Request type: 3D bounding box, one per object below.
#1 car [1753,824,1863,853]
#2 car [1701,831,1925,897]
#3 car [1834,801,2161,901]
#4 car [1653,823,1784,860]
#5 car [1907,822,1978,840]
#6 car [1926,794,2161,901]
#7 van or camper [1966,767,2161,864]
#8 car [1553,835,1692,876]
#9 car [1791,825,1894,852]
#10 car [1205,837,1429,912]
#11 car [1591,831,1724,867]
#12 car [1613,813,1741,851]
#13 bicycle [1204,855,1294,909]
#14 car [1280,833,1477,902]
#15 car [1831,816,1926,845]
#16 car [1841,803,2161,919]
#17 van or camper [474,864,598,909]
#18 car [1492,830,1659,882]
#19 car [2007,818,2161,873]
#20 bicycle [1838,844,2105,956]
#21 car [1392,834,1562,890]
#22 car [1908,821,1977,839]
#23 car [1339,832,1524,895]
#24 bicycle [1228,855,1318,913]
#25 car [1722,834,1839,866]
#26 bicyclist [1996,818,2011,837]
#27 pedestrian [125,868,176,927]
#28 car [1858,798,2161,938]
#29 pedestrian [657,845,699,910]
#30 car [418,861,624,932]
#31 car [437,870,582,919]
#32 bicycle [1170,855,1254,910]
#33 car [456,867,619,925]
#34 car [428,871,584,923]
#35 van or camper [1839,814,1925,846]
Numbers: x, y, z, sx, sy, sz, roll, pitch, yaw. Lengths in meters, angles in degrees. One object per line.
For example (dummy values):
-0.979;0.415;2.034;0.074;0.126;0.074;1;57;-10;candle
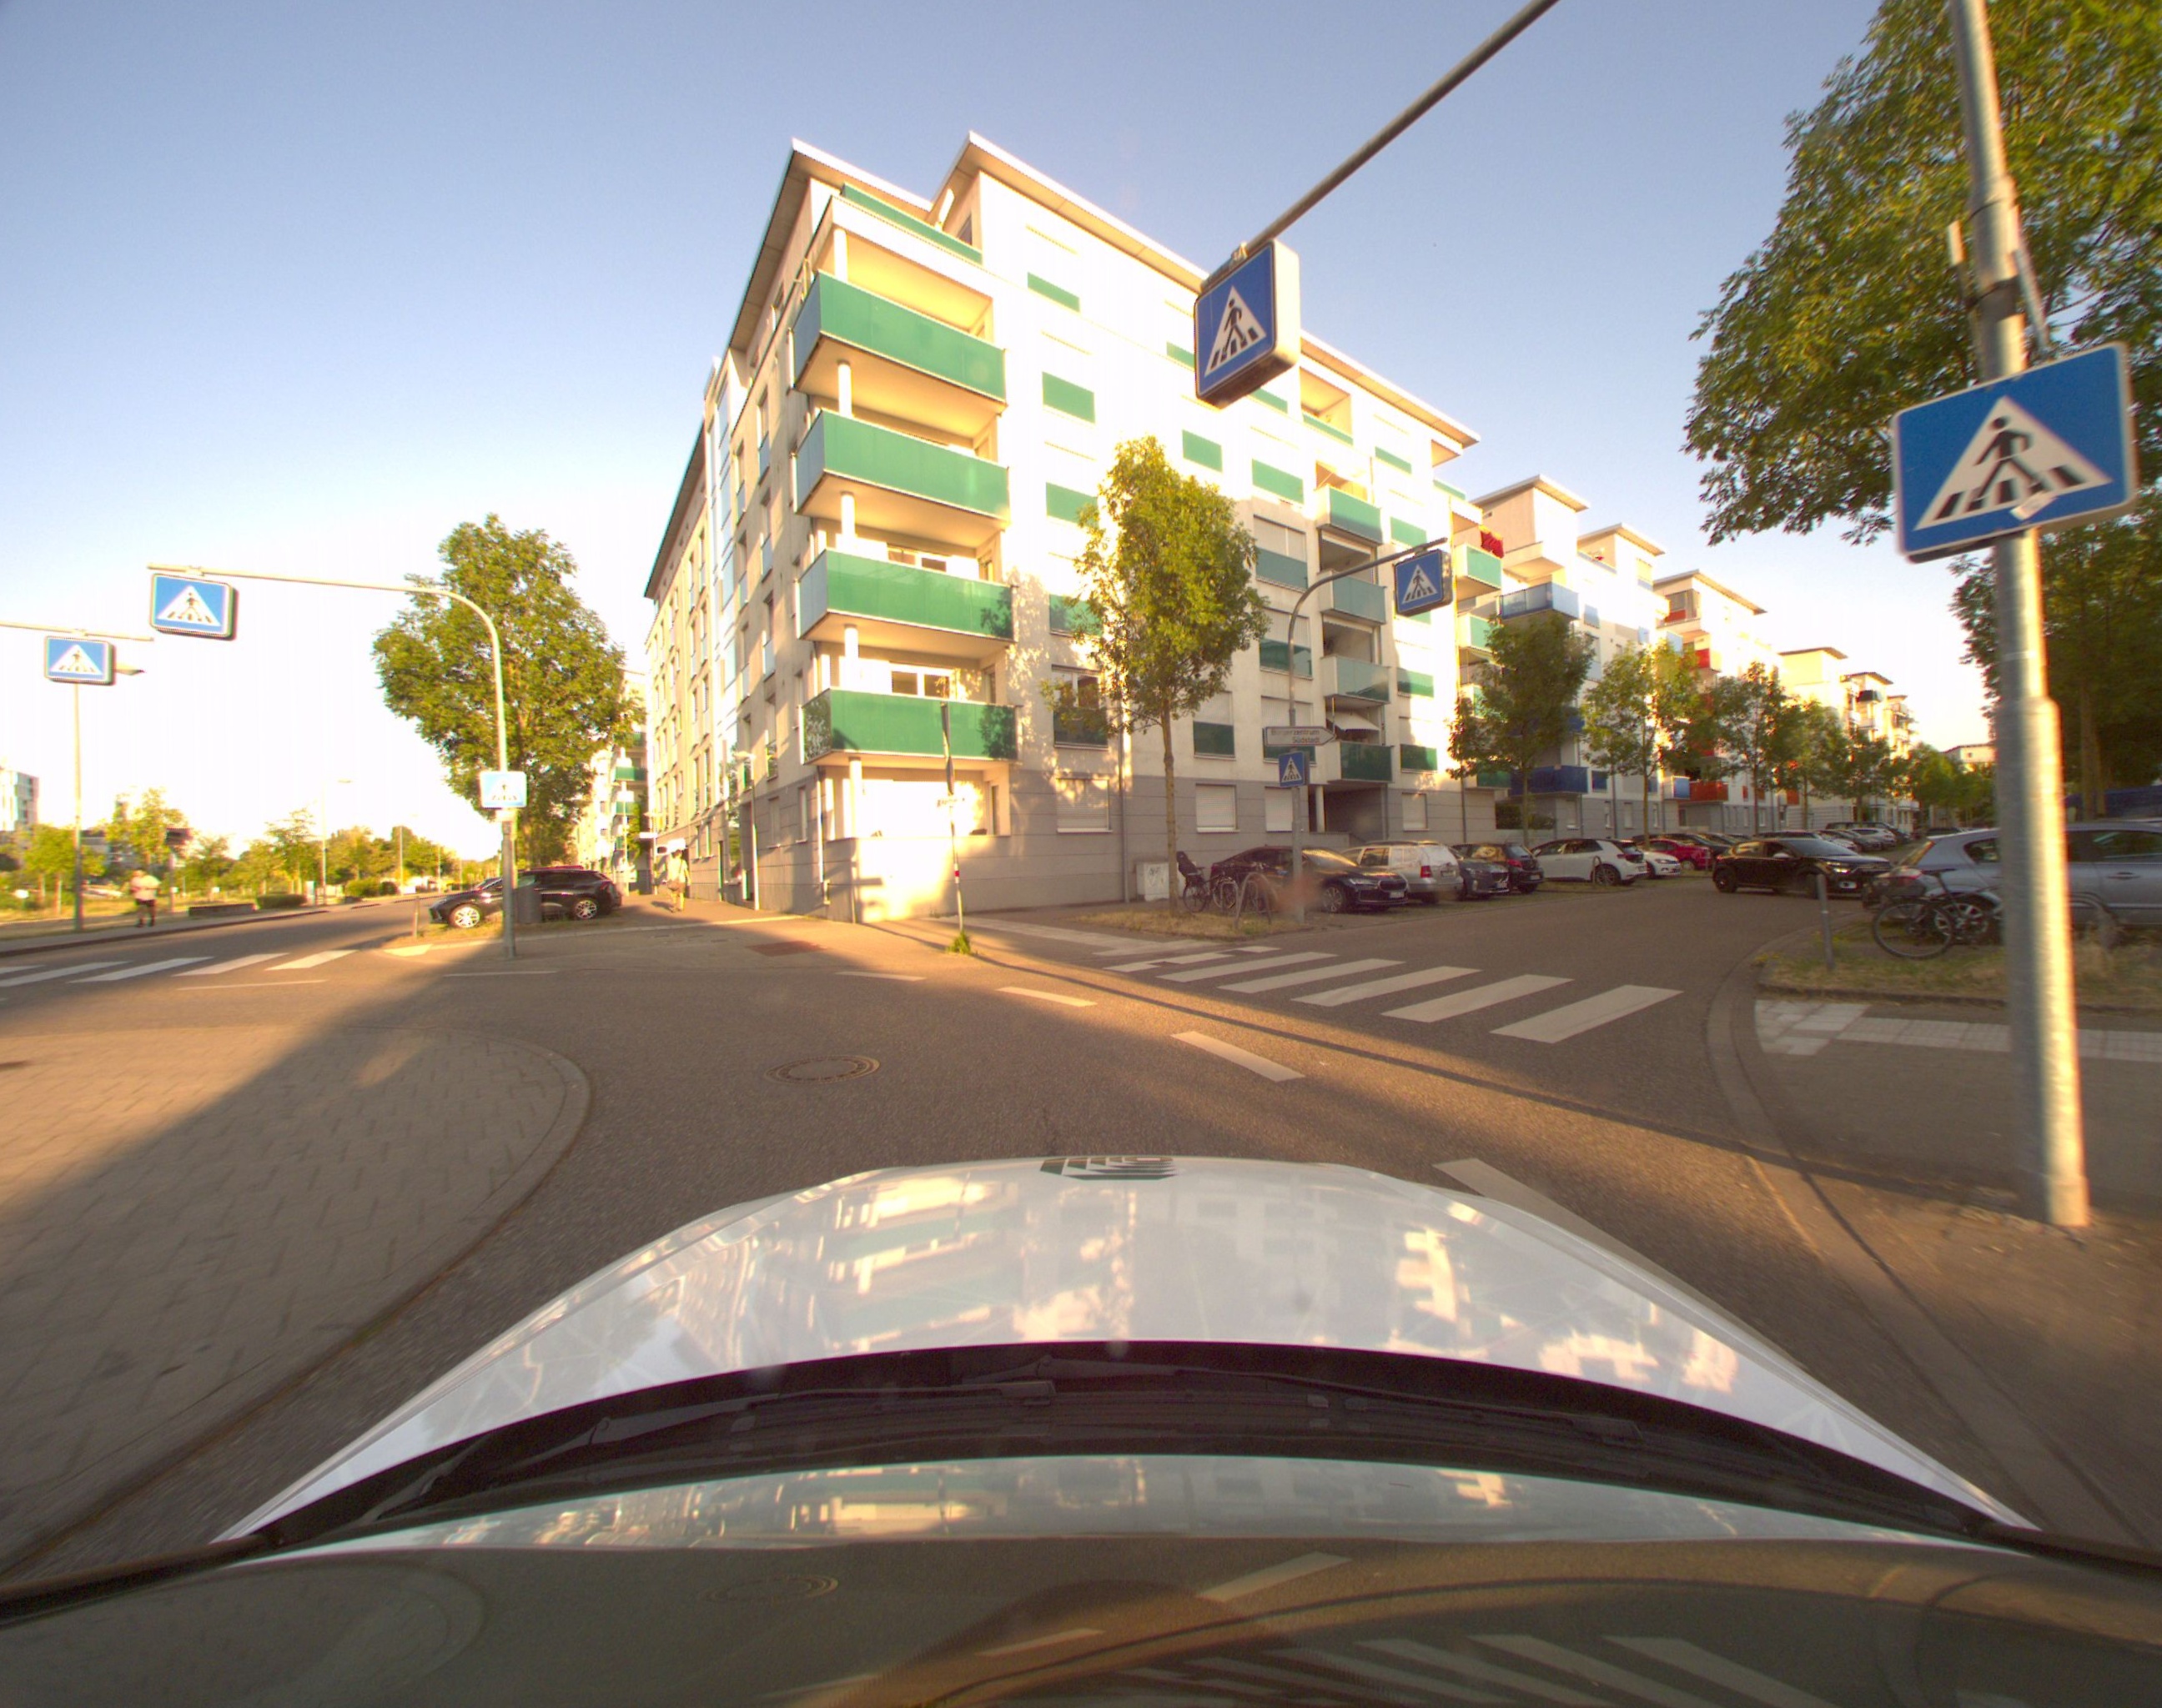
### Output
39.742;-0.859;44.595;1.700;1.536;4.209;-1;2;-35;car
17.972;0.158;20.317;1.768;1.462;4.176;0;2;-2;car
17.569;0.000;15.360;1.768;1.585;4.705;-1;-3;-41;car
27.499;-0.585;35.236;1.761;1.508;4.204;-2;2;-41;car
78.024;-2.082;73.825;1.700;1.638;4.209;-1;2;-35;car
16.598;-0.118;12.490;1.717;1.555;4.738;-2;-2;-33;car
36.020;-1.331;28.772;2.455;3.087;6.242;-2;-1;-41;van or camper
19.521;0.002;29.468;1.733;1.344;3.875;-2;2;-41;car
45.251;-0.931;48.455;1.700;1.536;4.209;-1;2;-35;car
5.247;0.353;18.763;1.946;1.457;4.839;-1;2;-35;car
23.002;-0.237;32.620;1.675;1.361;4.056;-2;2;-41;car
24.862;-0.928;34.078;1.675;1.508;4.056;-2;2;-41;car
3.568;0.563;17.419;0.476;1.046;2.011;-1;2;-41;bicycle
7.224;0.349;20.212;1.749;1.508;4.369;-1;-1;-33;car
51.853;-1.541;53.012;1.700;1.778;4.209;-1;2;-35;car
14.086;0.108;11.339;1.719;1.478;4.861;-1;-2;-39;car
-27.945;1.629;41.855;5.154;2.060;1.857;-1;-1;-36;van or camper
15.677;-0.001;26.018;1.694;1.507;4.247;-2;2;-40;car
32.109;-0.286;25.529;1.733;1.625;4.056;-2;2;-41;car
9.377;0.507;8.664;0.570;1.067;1.801;-1;-4;-39;bicycle
11.386;0.151;23.740;1.747;1.458;4.258;-1;2;-28;car
80.102;-2.195;75.798;1.700;1.615;4.209;-1;2;-35;car
9.247;0.174;21.790;1.751;1.493;4.249;-2;2;-37;car
3.822;0.567;16.331;0.476;1.072;1.819;-1;2;-41;bicycle
35.313;-0.255;41.225;1.700;1.536;4.209;-1;2;-35;car
79.928;-2.311;70.572;0.666;1.627;0.759;-1;-1;-38;bicyclist
-28.130;1.296;24.640;0.769;1.730;0.794;-1;-1;-29;pedestrian
12.235;0.127;9.534;1.689;1.458;4.244;-1;-5;-39;car
-12.144;0.691;24.537;0.984;1.894;1.039;-1;-1;-34;pedestrian
-15.471;1.126;22.740;4.501;1.487;1.813;-5;1;-36;car
-20.123;1.388;28.825;4.074;1.480;1.683;-1;-1;-36;car
2.672;0.562;16.781;0.570;1.042;1.772;-1;2;-41;bicycle
-16.743;1.235;25.232;4.024;1.373;1.542;-5;2;-36;car
-18.824;1.364;26.825;4.074;1.480;1.683;-1;-1;-36;car
57.736;-1.750;58.736;1.700;2.210;4.207;-1;2;-37;van or camper
